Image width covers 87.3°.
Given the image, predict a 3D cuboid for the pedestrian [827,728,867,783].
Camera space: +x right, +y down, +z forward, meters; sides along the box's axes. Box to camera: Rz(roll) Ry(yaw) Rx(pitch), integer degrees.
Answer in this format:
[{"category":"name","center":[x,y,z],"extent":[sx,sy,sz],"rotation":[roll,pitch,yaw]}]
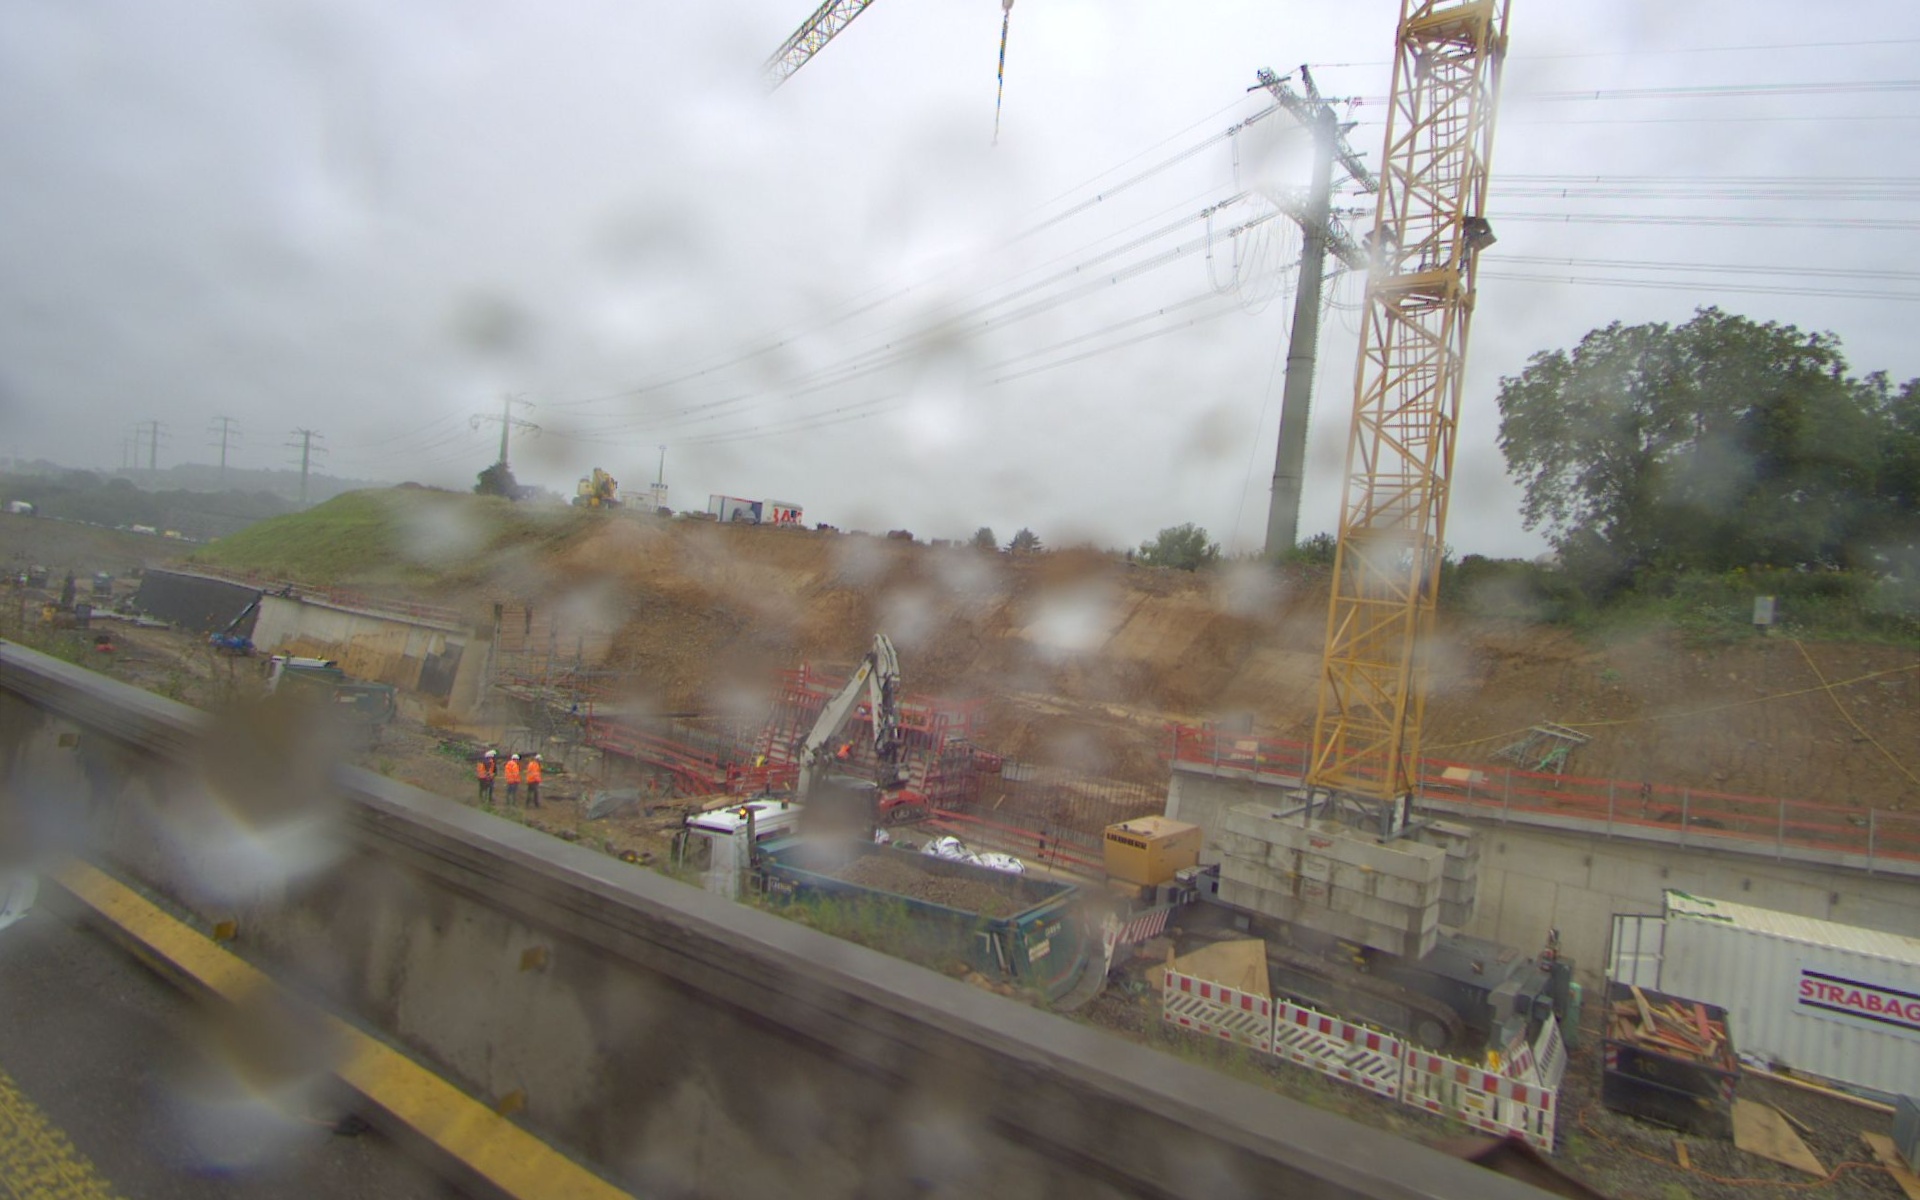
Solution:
[{"category":"pedestrian","center":[-4.740,6.509,42.163],"extent":[0.885,2.012,0.907],"rotation":[5,-12,38]}]

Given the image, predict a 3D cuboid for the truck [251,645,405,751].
[{"category":"truck","center":[-28.855,4.363,45.740],"extent":[8.930,3.531,2.730],"rotation":[6,-2,38]}]

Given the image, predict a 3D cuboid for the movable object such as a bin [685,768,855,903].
[{"category":"movable object such as a bin","center":[-5.123,6.274,27.394],"extent":[2.921,2.769,3.155],"rotation":[6,-2,33]}]

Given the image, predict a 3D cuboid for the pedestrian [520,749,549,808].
[{"category":"pedestrian","center":[-15.273,6.415,36.124],"extent":[0.725,1.967,0.573],"rotation":[7,-1,-19]}]

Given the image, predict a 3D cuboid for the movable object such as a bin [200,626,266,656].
[{"category":"movable object such as a bin","center":[-60.805,3.429,84.214],"extent":[3.772,2.035,2.003],"rotation":[6,-4,-3]}]

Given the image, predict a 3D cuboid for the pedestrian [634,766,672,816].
[{"category":"pedestrian","center":[-14.213,8.843,46.566],"extent":[0.892,2.012,0.901],"rotation":[5,-12,37]}]

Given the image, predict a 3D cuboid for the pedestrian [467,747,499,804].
[{"category":"pedestrian","center":[-17.049,6.276,35.978],"extent":[0.725,1.891,0.573],"rotation":[6,-1,40]}]

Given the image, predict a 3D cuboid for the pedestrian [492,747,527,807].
[{"category":"pedestrian","center":[-16.083,6.301,35.928],"extent":[0.721,1.967,0.576],"rotation":[7,-1,5]}]

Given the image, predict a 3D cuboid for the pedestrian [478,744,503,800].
[{"category":"pedestrian","center":[-17.225,6.294,36.902],"extent":[0.567,1.891,0.732],"rotation":[7,-1,-20]}]

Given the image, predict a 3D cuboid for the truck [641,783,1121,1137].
[{"category":"truck","center":[-1.788,6.018,18.636],"extent":[8.807,3.544,2.702],"rotation":[6,-2,35]}]

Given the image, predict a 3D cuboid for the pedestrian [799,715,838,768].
[{"category":"pedestrian","center":[-6.078,6.067,43.260],"extent":[0.885,2.012,0.907],"rotation":[5,-12,38]}]

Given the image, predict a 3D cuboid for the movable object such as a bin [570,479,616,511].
[{"category":"movable object such as a bin","center":[-36.218,-10.353,99.139],"extent":[3.912,2.472,2.427],"rotation":[8,-1,41]}]
